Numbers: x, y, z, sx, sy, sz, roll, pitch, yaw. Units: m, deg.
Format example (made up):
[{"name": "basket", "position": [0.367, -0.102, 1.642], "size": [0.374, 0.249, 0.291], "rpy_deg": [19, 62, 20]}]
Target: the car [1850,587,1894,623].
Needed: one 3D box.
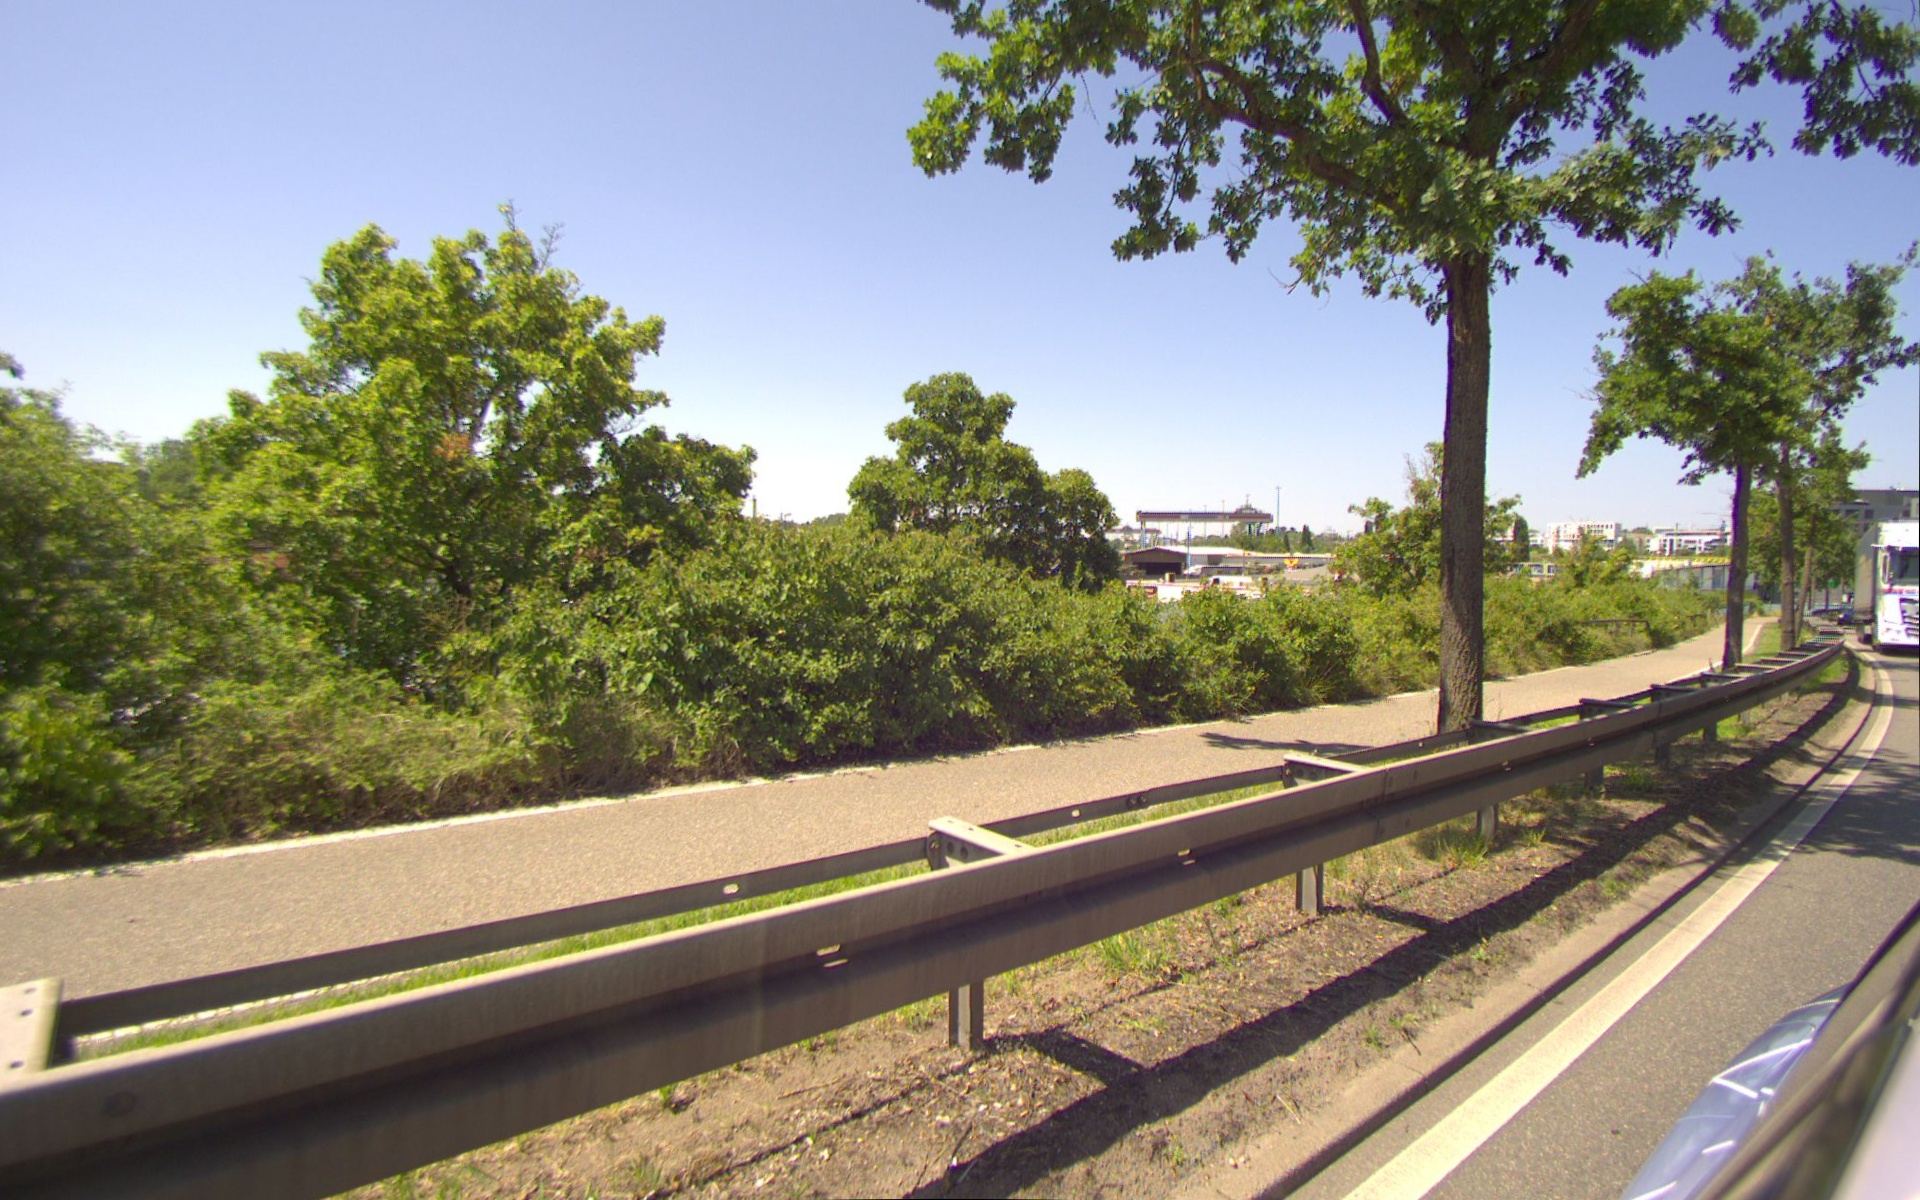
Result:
[{"name": "car", "position": [53.400, 0.266, 59.292], "size": [1.773, 2.039, 3.941], "rpy_deg": [0, 0, 40]}]

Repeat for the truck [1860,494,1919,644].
[{"name": "truck", "position": [33.059, -0.920, 34.495], "size": [3.059, 4.223, 16.666], "rpy_deg": [0, 0, 40]}]
